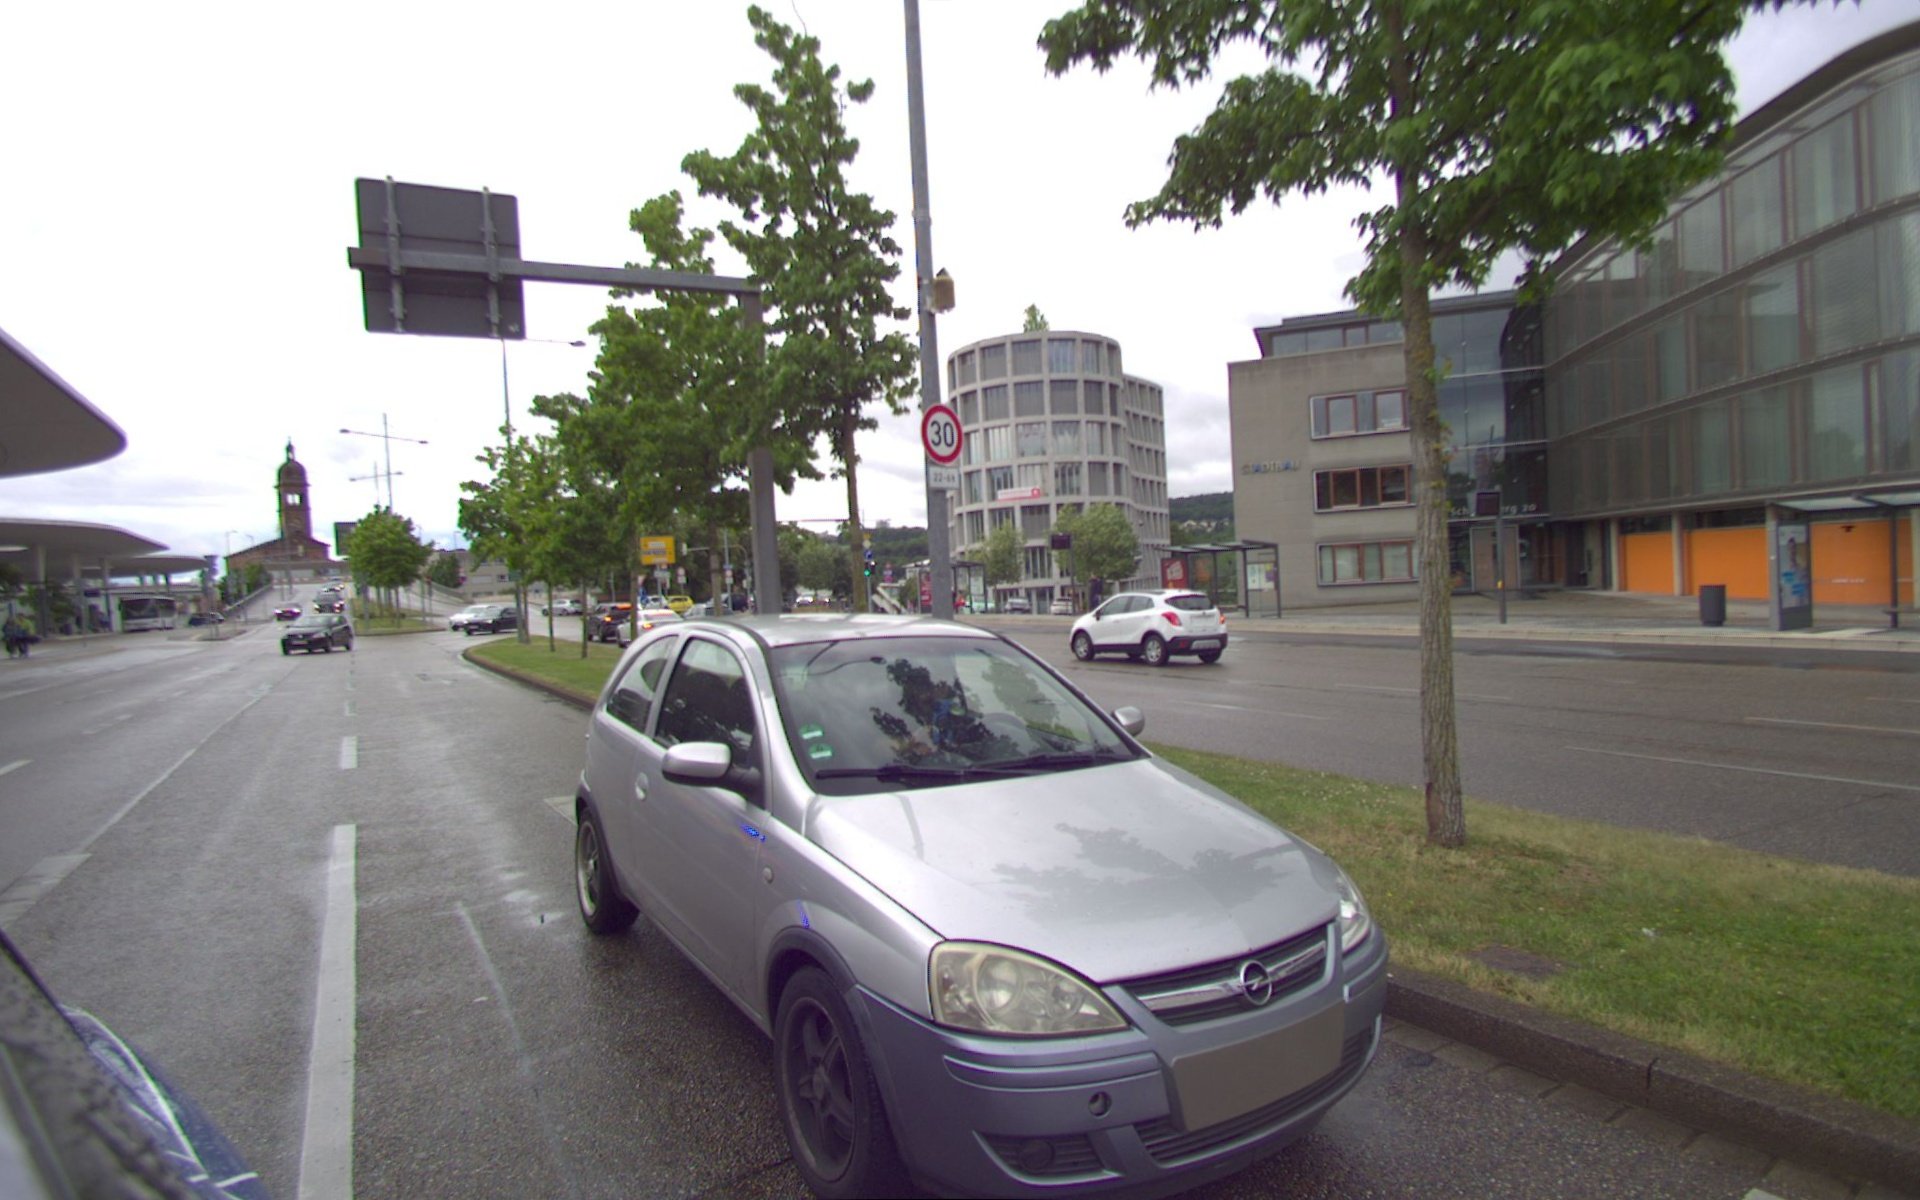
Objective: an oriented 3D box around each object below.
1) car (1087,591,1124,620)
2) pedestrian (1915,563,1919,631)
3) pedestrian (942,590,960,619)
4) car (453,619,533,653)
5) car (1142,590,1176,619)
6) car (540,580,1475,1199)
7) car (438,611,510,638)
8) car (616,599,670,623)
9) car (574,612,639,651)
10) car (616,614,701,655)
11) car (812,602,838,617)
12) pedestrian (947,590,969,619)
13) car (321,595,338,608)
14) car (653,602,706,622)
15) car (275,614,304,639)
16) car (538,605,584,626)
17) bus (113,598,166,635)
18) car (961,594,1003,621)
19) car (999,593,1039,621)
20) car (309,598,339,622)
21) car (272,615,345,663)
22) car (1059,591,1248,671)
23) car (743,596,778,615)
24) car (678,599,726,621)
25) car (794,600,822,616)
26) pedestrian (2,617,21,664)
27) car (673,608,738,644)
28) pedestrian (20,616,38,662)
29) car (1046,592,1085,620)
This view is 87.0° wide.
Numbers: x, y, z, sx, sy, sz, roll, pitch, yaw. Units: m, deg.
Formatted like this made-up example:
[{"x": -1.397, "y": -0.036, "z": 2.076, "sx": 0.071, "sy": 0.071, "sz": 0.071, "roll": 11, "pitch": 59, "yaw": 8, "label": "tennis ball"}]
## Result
[{"x": 9.294, "y": 0.340, "z": 64.409, "sx": 1.859, "sy": 1.715, "sz": 4.138, "roll": -1, "pitch": 0, "yaw": 14, "label": "car"}, {"x": 18.912, "y": -0.073, "z": 19.364, "sx": 0.657, "sy": 1.309, "sz": 0.722, "roll": -1, "pitch": 0, "yaw": -26, "label": "pedestrian"}, {"x": -0.492, "y": 0.238, "z": 54.181, "sx": 0.721, "sy": 1.501, "sz": 0.737, "roll": -1, "pitch": 0, "yaw": -23, "label": "pedestrian"}, {"x": -26.211, "y": 2.005, "z": 56.929, "sx": 1.860, "sy": 1.715, "sz": 4.137, "roll": -1, "pitch": 0, "yaw": 15, "label": "car"}, {"x": 12.454, "y": 0.289, "z": 63.241, "sx": 1.859, "sy": 1.715, "sz": 4.138, "roll": -1, "pitch": 0, "yaw": 14, "label": "car"}, {"x": -0.349, "y": 0.714, "z": 3.802, "sx": 1.671, "sy": 1.477, "sz": 3.731, "roll": -1, "pitch": 0, "yaw": -32, "label": "car"}, {"x": -30.526, "y": 1.525, "z": 63.686, "sx": 1.797, "sy": 1.571, "sz": 4.026, "roll": -1, "pitch": 0, "yaw": 17, "label": "car"}, {"x": -23.690, "y": 0.801, "z": 75.812, "sx": 1.860, "sy": 1.646, "sz": 4.279, "roll": -1, "pitch": 0, "yaw": 16, "label": "car"}, {"x": -15.206, "y": 1.309, "z": 43.405, "sx": 1.977, "sy": 1.566, "sz": 4.178, "roll": -1, "pitch": 0, "yaw": -28, "label": "car"}, {"x": -10.992, "y": 1.207, "z": 36.710, "sx": 1.977, "sy": 1.363, "sz": 4.177, "roll": -1, "pitch": 0, "yaw": -31, "label": "car"}, {"x": -15.576, "y": 1.087, "z": 116.840, "sx": 1.856, "sy": 1.646, "sz": 4.146, "roll": -1, "pitch": 0, "yaw": 9, "label": "car"}, {"x": -0.105, "y": 0.231, "z": 53.132, "sx": 0.967, "sy": 1.501, "sz": 0.736, "roll": -1, "pitch": 0, "yaw": -21, "label": "pedestrian"}, {"x": -78.738, "y": 0.221, "z": 126.387, "sx": 1.525, "sy": 1.572, "sz": 3.658, "roll": -1, "pitch": 0, "yaw": -36, "label": "car"}, {"x": -24.005, "y": 1.016, "z": 86.678, "sx": 1.871, "sy": 1.646, "sz": 4.111, "roll": -2, "pitch": 0, "yaw": 33, "label": "car"}, {"x": -56.915, "y": 2.217, "z": 85.896, "sx": 1.966, "sy": 2.029, "sz": 4.011, "roll": -1, "pitch": 0, "yaw": -33, "label": "car"}, {"x": -34.139, "y": 1.307, "z": 86.563, "sx": 4.153, "sy": 1.646, "sz": 1.852, "roll": -2, "pitch": 0, "yaw": 39, "label": "car"}, {"x": -75.283, "y": 1.526, "z": 92.828, "sx": 3.528, "sy": 3.121, "sz": 10.773, "roll": -2, "pitch": 0, "yaw": -39, "label": "bus"}, {"x": 1.468, "y": 0.465, "z": 66.226, "sx": 1.859, "sy": 1.715, "sz": 4.138, "roll": -1, "pitch": 0, "yaw": 14, "label": "car"}, {"x": 3.854, "y": 0.427, "z": 65.502, "sx": 1.859, "sy": 1.715, "sz": 4.138, "roll": -1, "pitch": 0, "yaw": 14, "label": "car"}, {"x": -56.399, "y": 0.904, "z": 89.740, "sx": 1.967, "sy": 2.029, "sz": 4.009, "roll": -1, "pitch": 0, "yaw": -36, "label": "car"}, {"x": -25.711, "y": 1.481, "z": 40.077, "sx": 1.844, "sy": 1.715, "sz": 4.171, "roll": -1, "pitch": 0, "yaw": -25, "label": "car"}, {"x": 4.280, "y": 0.651, "z": 23.015, "sx": 1.928, "sy": 1.630, "sz": 4.221, "roll": -1, "pitch": 0, "yaw": -30, "label": "car"}, {"x": -18.377, "y": 0.490, "z": 93.311, "sx": 1.856, "sy": 1.646, "sz": 4.146, "roll": -1, "pitch": 0, "yaw": 9, "label": "car"}, {"x": -20.099, "y": 0.781, "z": 78.989, "sx": 1.860, "sy": 1.646, "sz": 4.137, "roll": -1, "pitch": 0, "yaw": 15, "label": "car"}, {"x": -16.207, "y": 0.817, "z": 107.927, "sx": 1.856, "sy": 1.646, "sz": 4.146, "roll": -1, "pitch": 0, "yaw": 9, "label": "car"}, {"x": -36.453, "y": 1.558, "z": 38.913, "sx": 0.438, "sy": 1.777, "sz": 0.538, "roll": -2, "pitch": 0, "yaw": -37, "label": "pedestrian"}, {"x": -11.084, "y": 1.082, "z": 43.868, "sx": 1.671, "sy": 1.477, "sz": 4.466, "roll": -1, "pitch": 0, "yaw": -28, "label": "car"}, {"x": -36.082, "y": 1.509, "z": 39.225, "sx": 0.439, "sy": 1.777, "sz": 0.538, "roll": -2, "pitch": 0, "yaw": -39, "label": "pedestrian"}, {"x": 6.790, "y": 0.366, "z": 64.750, "sx": 1.859, "sy": 1.714, "sz": 4.138, "roll": -2, "pitch": 0, "yaw": 14, "label": "car"}]
